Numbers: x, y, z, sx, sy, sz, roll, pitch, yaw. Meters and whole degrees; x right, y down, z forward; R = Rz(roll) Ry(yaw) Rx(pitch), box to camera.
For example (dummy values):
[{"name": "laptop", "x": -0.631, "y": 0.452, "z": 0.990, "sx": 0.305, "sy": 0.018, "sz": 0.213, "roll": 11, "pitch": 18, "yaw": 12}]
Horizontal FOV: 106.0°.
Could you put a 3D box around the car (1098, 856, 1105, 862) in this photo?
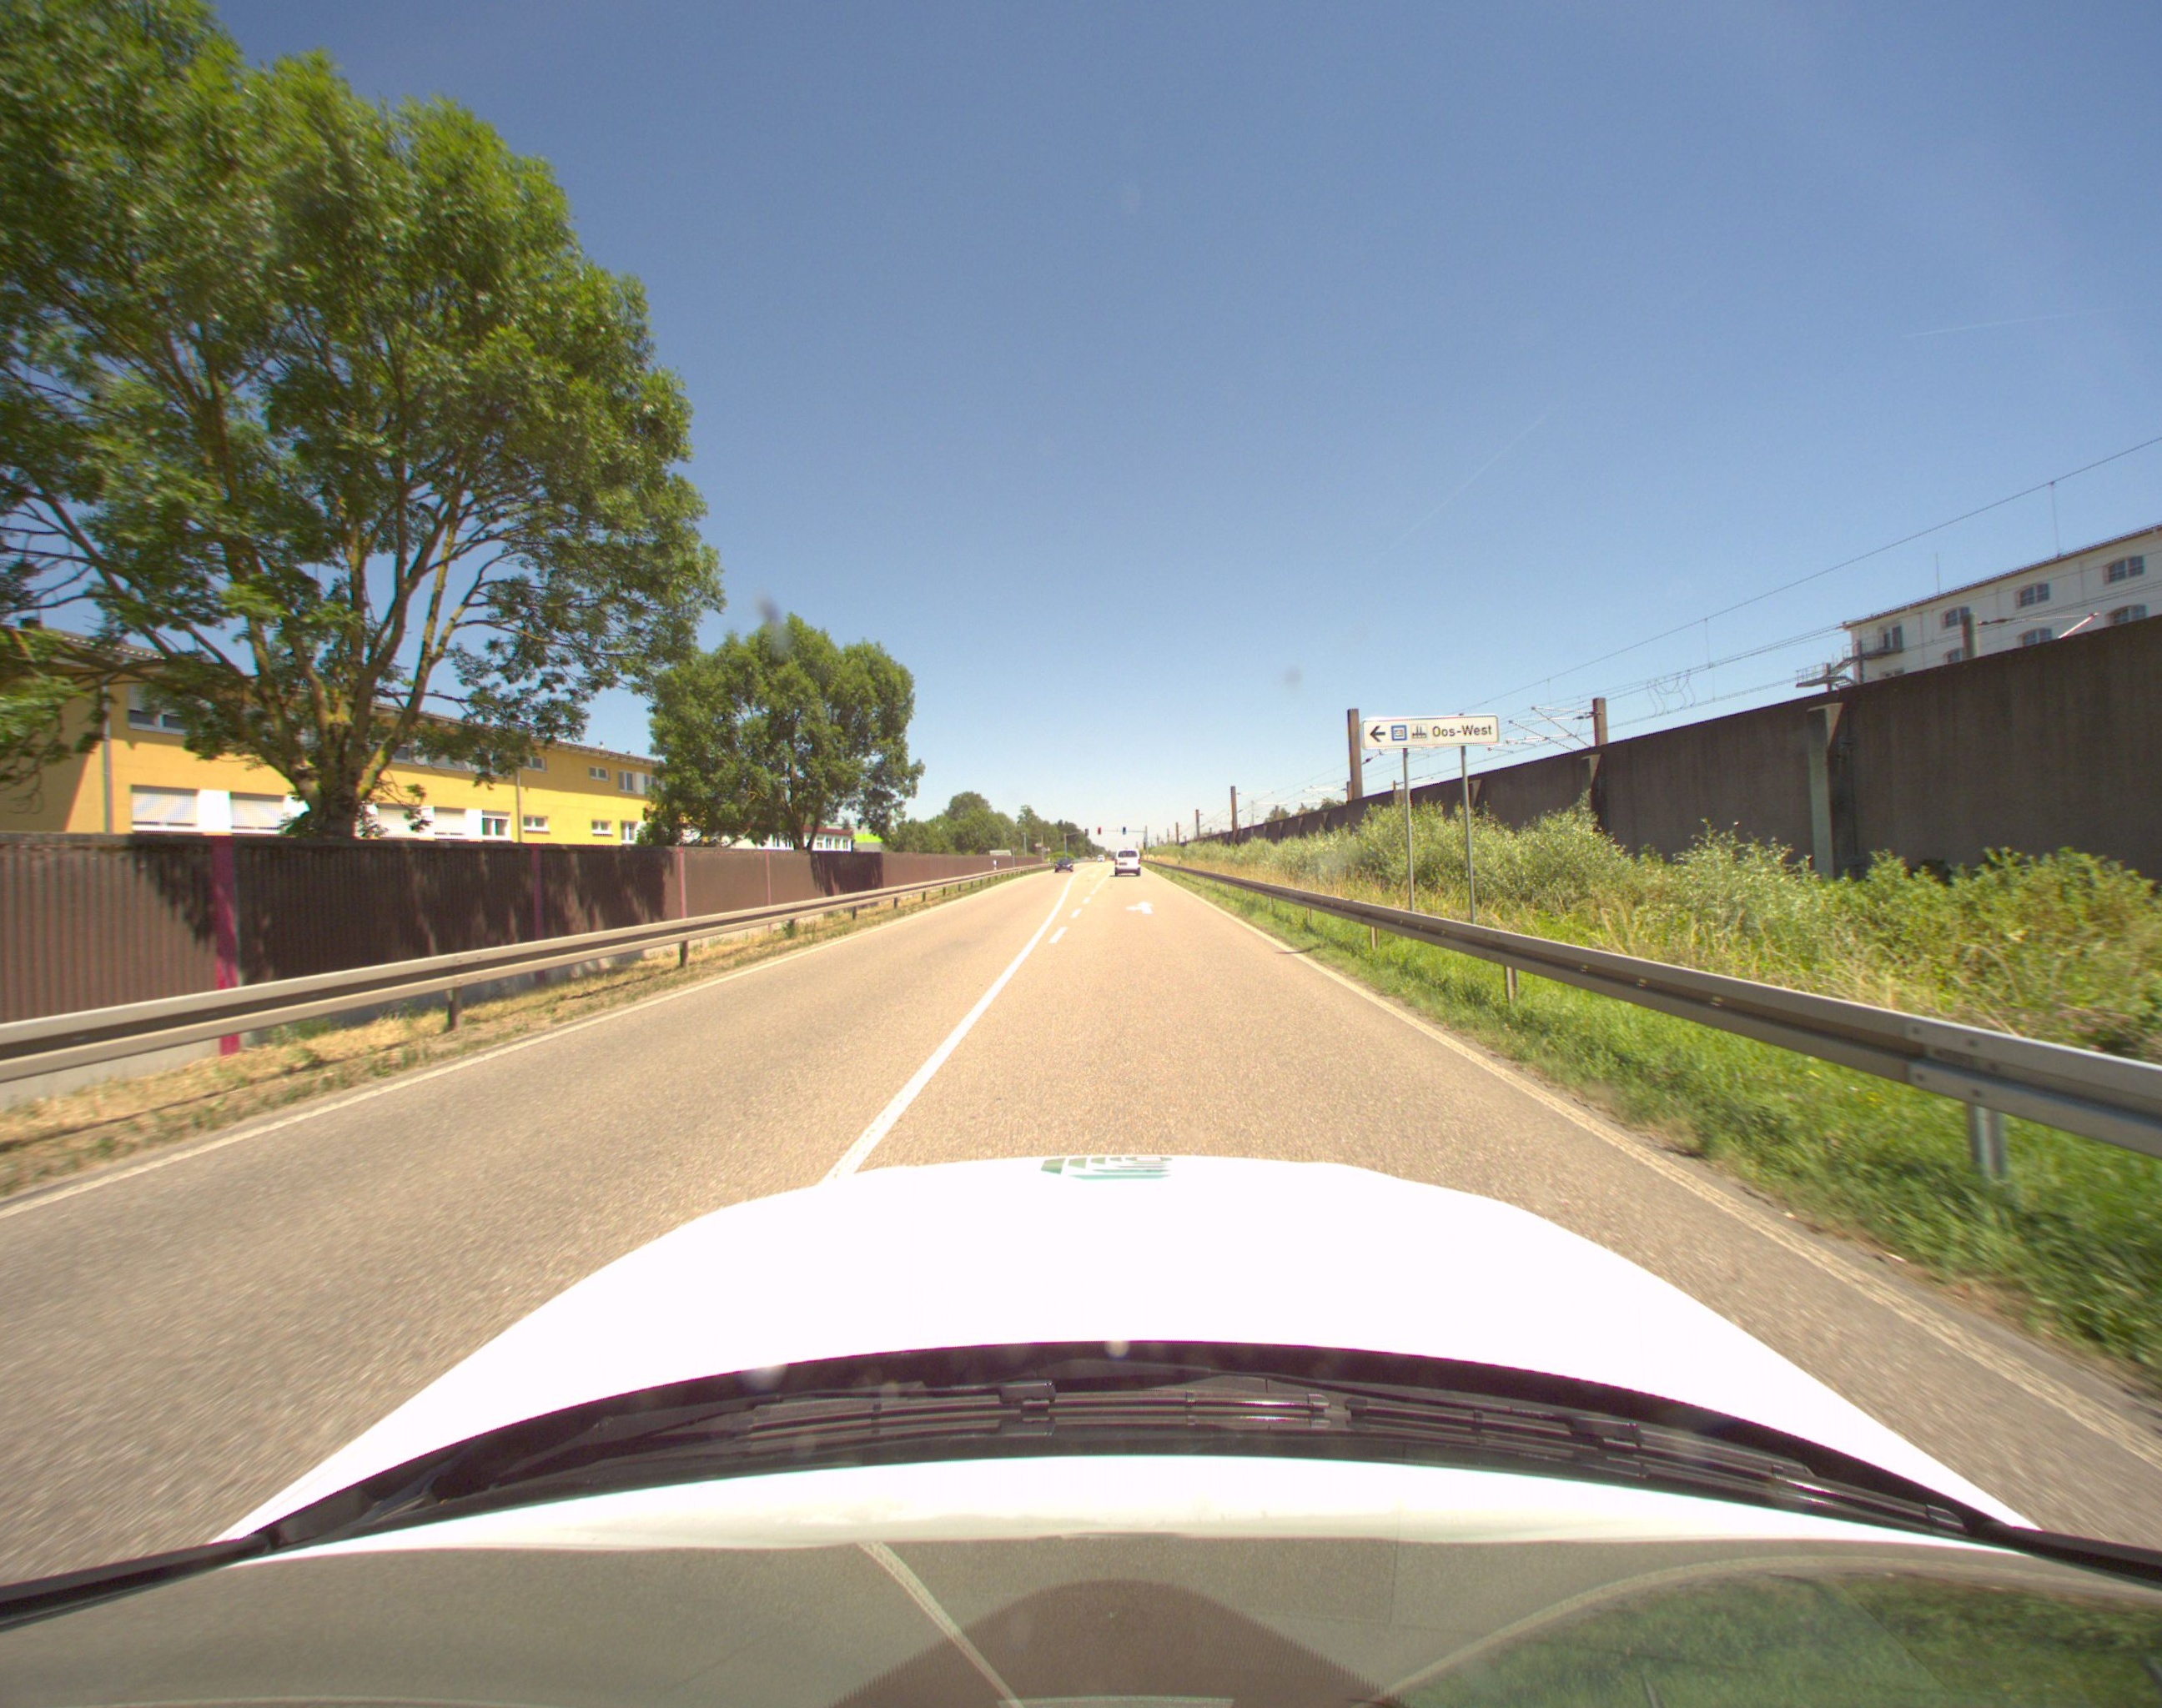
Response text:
[{"name": "car", "x": 5.314, "y": 1.300, "z": 214.533, "sx": 1.813, "sy": 1.596, "sz": 4.001, "roll": 0, "pitch": 0, "yaw": 2}]

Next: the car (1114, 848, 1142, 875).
[{"name": "car", "x": 3.433, "y": 0.514, "z": 59.472, "sx": 1.985, "sy": 1.850, "sz": 4.003, "roll": 0, "pitch": 0, "yaw": 3}]

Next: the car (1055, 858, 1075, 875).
[{"name": "car", "x": -1.617, "y": 1.223, "z": 81.875, "sx": 1.813, "sy": 1.596, "sz": 4.001, "roll": 0, "pitch": 0, "yaw": 2}]
